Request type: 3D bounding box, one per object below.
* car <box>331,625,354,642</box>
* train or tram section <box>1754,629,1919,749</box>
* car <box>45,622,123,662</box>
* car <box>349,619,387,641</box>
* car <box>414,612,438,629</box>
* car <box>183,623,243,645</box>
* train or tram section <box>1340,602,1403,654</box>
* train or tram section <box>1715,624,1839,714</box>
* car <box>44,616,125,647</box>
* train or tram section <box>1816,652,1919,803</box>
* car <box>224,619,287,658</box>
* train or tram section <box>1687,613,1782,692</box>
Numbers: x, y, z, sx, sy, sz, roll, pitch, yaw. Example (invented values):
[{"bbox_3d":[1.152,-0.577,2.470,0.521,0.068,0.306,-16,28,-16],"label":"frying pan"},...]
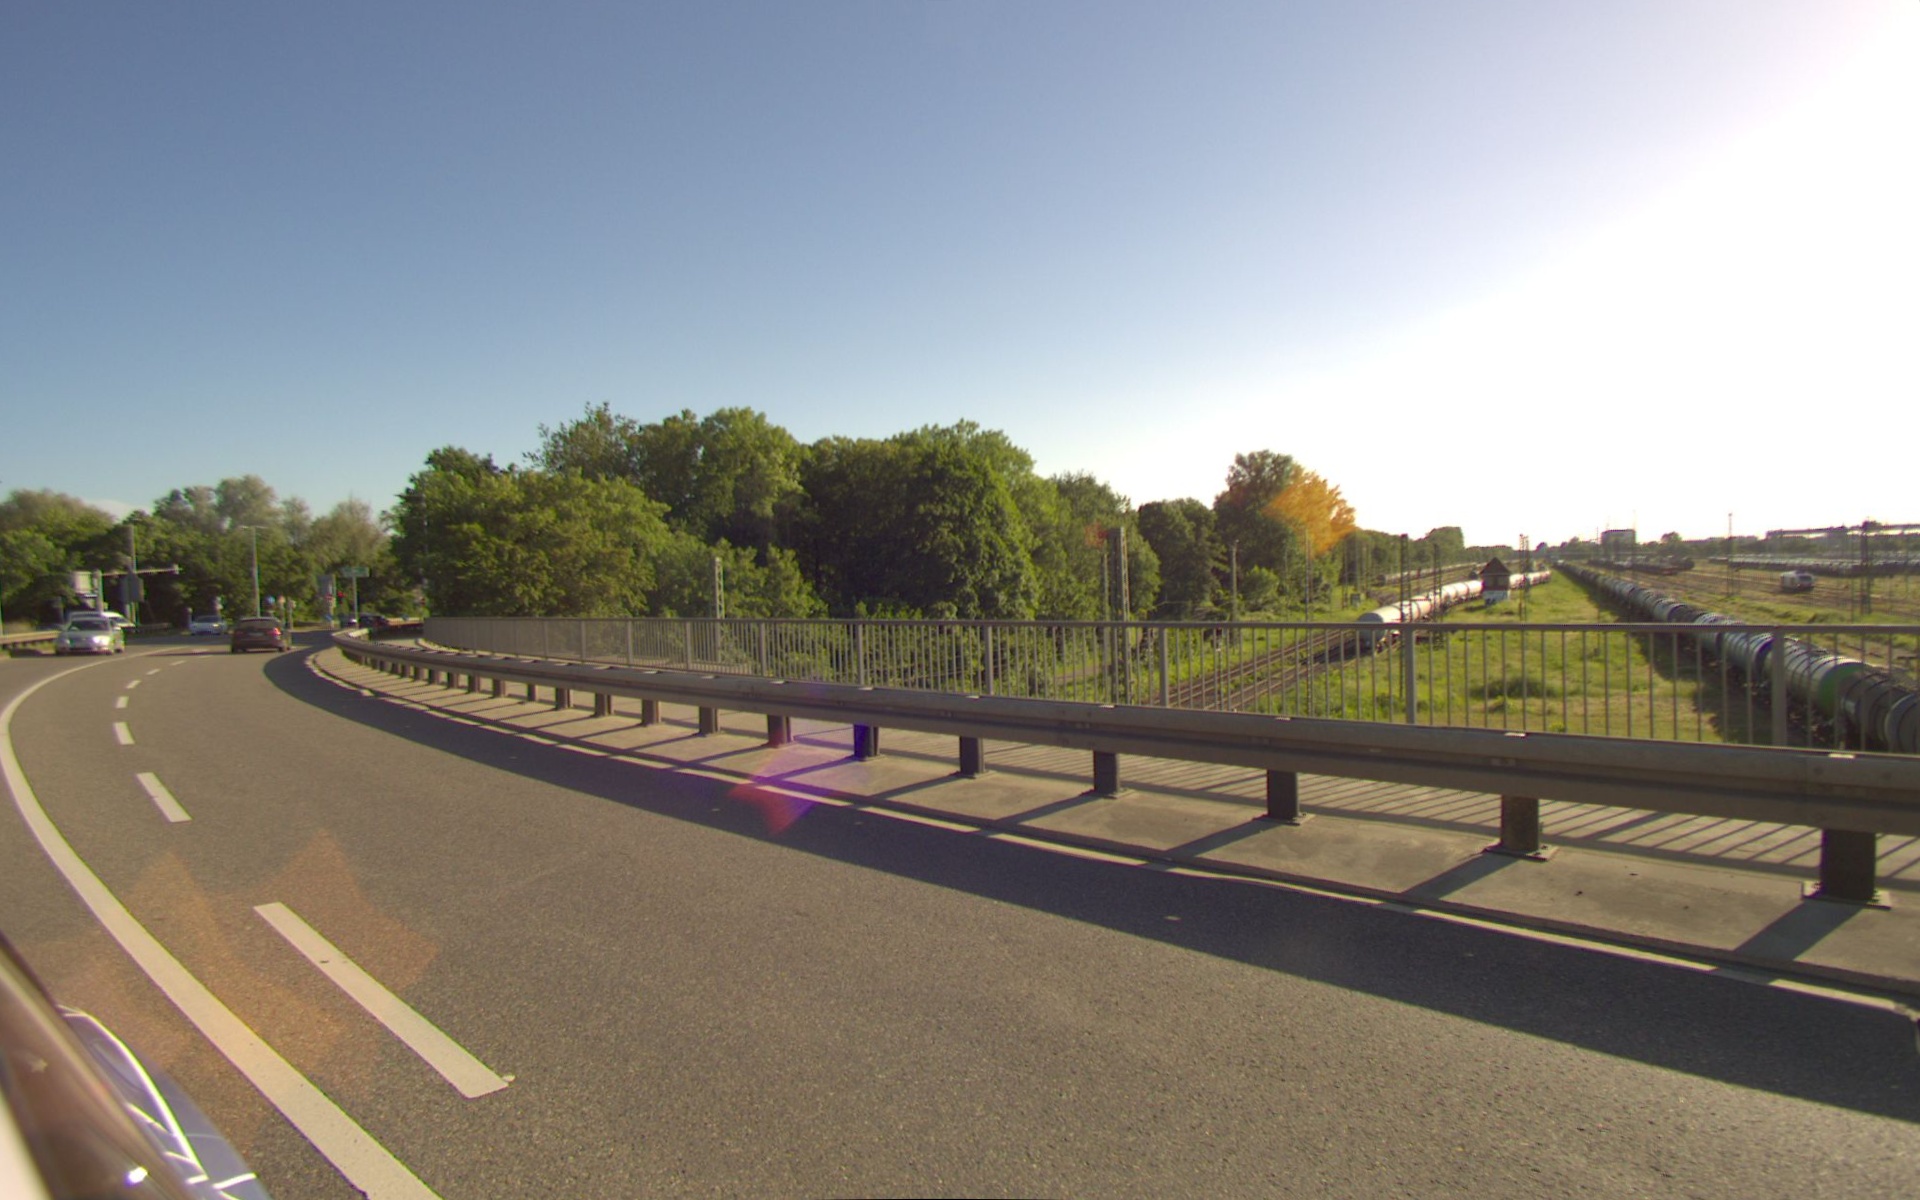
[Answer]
[{"bbox_3d":[-66.009,3.559,108.170,1.890,1.630,3.754,-1,-1,-28],"label":"car"},{"bbox_3d":[46.785,4.349,54.510,3.890,5.054,16.498,-1,-1,30],"label":"train or tram section"},{"bbox_3d":[-34.322,1.604,39.761,1.736,1.447,4.342,-1,-1,-33],"label":"car"},{"bbox_3d":[-41.767,2.116,71.414,1.756,1.448,3.887,-1,-1,-22],"label":"car"},{"bbox_3d":[-48.241,1.845,91.500,1.700,1.497,4.421,0,-1,-25],"label":"car"},{"bbox_3d":[-55.836,2.530,75.737,1.962,1.484,4.139,-1,0,-10],"label":"car"},{"bbox_3d":[45.277,2.875,110.760,4.031,5.125,19.163,-1,-1,29],"label":"train or tram section"},{"bbox_3d":[54.917,4.336,68.663,3.890,5.054,16.200,-1,-1,30],"label":"train or tram section"},{"bbox_3d":[-79.966,2.895,92.442,5.629,2.518,2.113,-3,-1,2],"label":"car"},{"bbox_3d":[38.647,4.773,40.348,3.890,4.626,16.146,-1,-1,30],"label":"train or tram section"},{"bbox_3d":[-28.392,1.519,40.874,1.848,1.450,4.333,-1,-1,-32],"label":"car"},{"bbox_3d":[63.004,4.009,82.783,3.890,5.560,16.337,-1,-1,30],"label":"train or tram section"}]
